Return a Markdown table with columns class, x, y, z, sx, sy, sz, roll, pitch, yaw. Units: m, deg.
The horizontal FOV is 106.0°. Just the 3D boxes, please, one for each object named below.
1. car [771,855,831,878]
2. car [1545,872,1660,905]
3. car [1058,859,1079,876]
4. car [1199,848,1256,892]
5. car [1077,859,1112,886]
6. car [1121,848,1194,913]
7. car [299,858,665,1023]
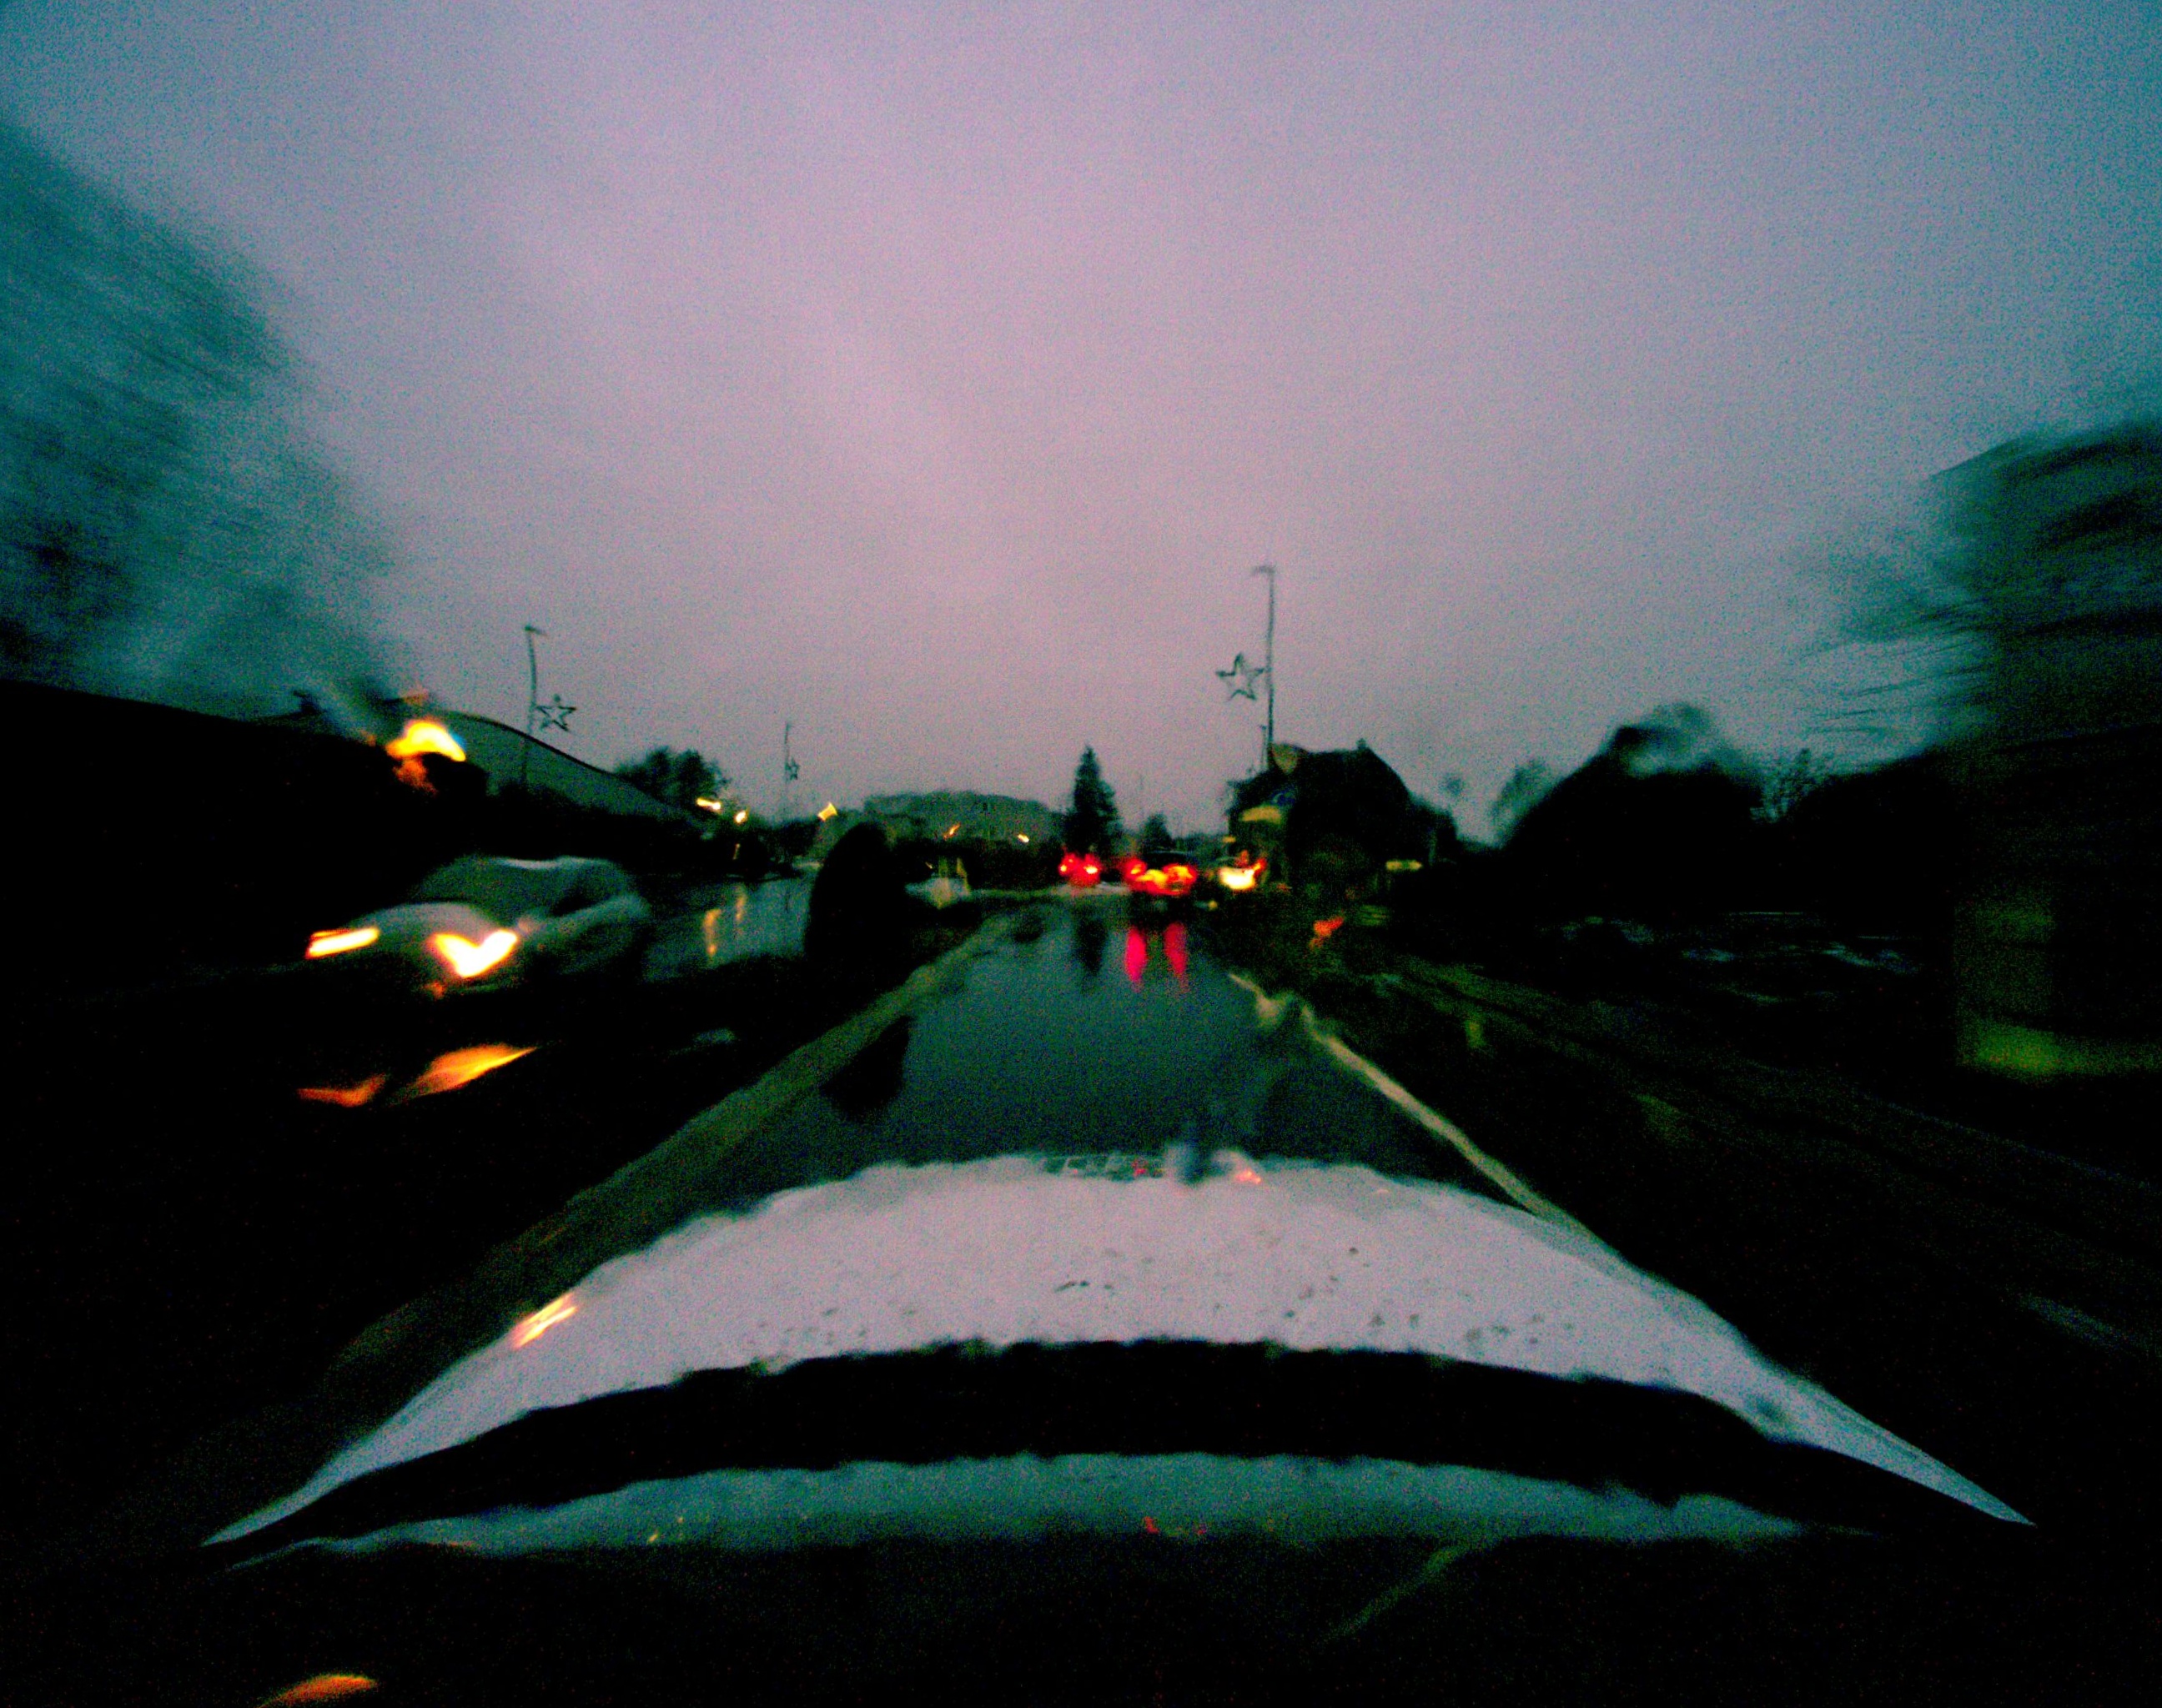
| class | x | y | z | sx | sy | sz | roll | pitch | yaw |
| --- | --- | --- | --- | --- | --- | --- | --- | --- | --- |
| car | -21.071 | 0.928 | 61.269 | 4.226 | 1.561 | 2.077 | 2 | -2 | 36 |
| car | 31.127 | 1.999 | 48.747 | 2.379 | 1.865 | 5.271 | 1 | -1 | -38 |
| car | -1.206 | 1.223 | 75.851 | 1.770 | 1.544 | 3.993 | 0 | -1 | -5 |
| car | 6.168 | 0.636 | 34.743 | 2.152 | 1.689 | 4.580 | 0 | 1 | 7 |
| car | 0.795 | 1.226 | 51.864 | 1.878 | 1.615 | 4.564 | 0 | -2 | -3 |
| car | 2.218 | 0.724 | 24.005 | 1.936 | 1.718 | 4.004 | 1 | 0 | 4 |
| car | -6.356 | 0.786 | 9.224 | 1.604 | 1.469 | 3.679 | 0 | 0 | -5 |
